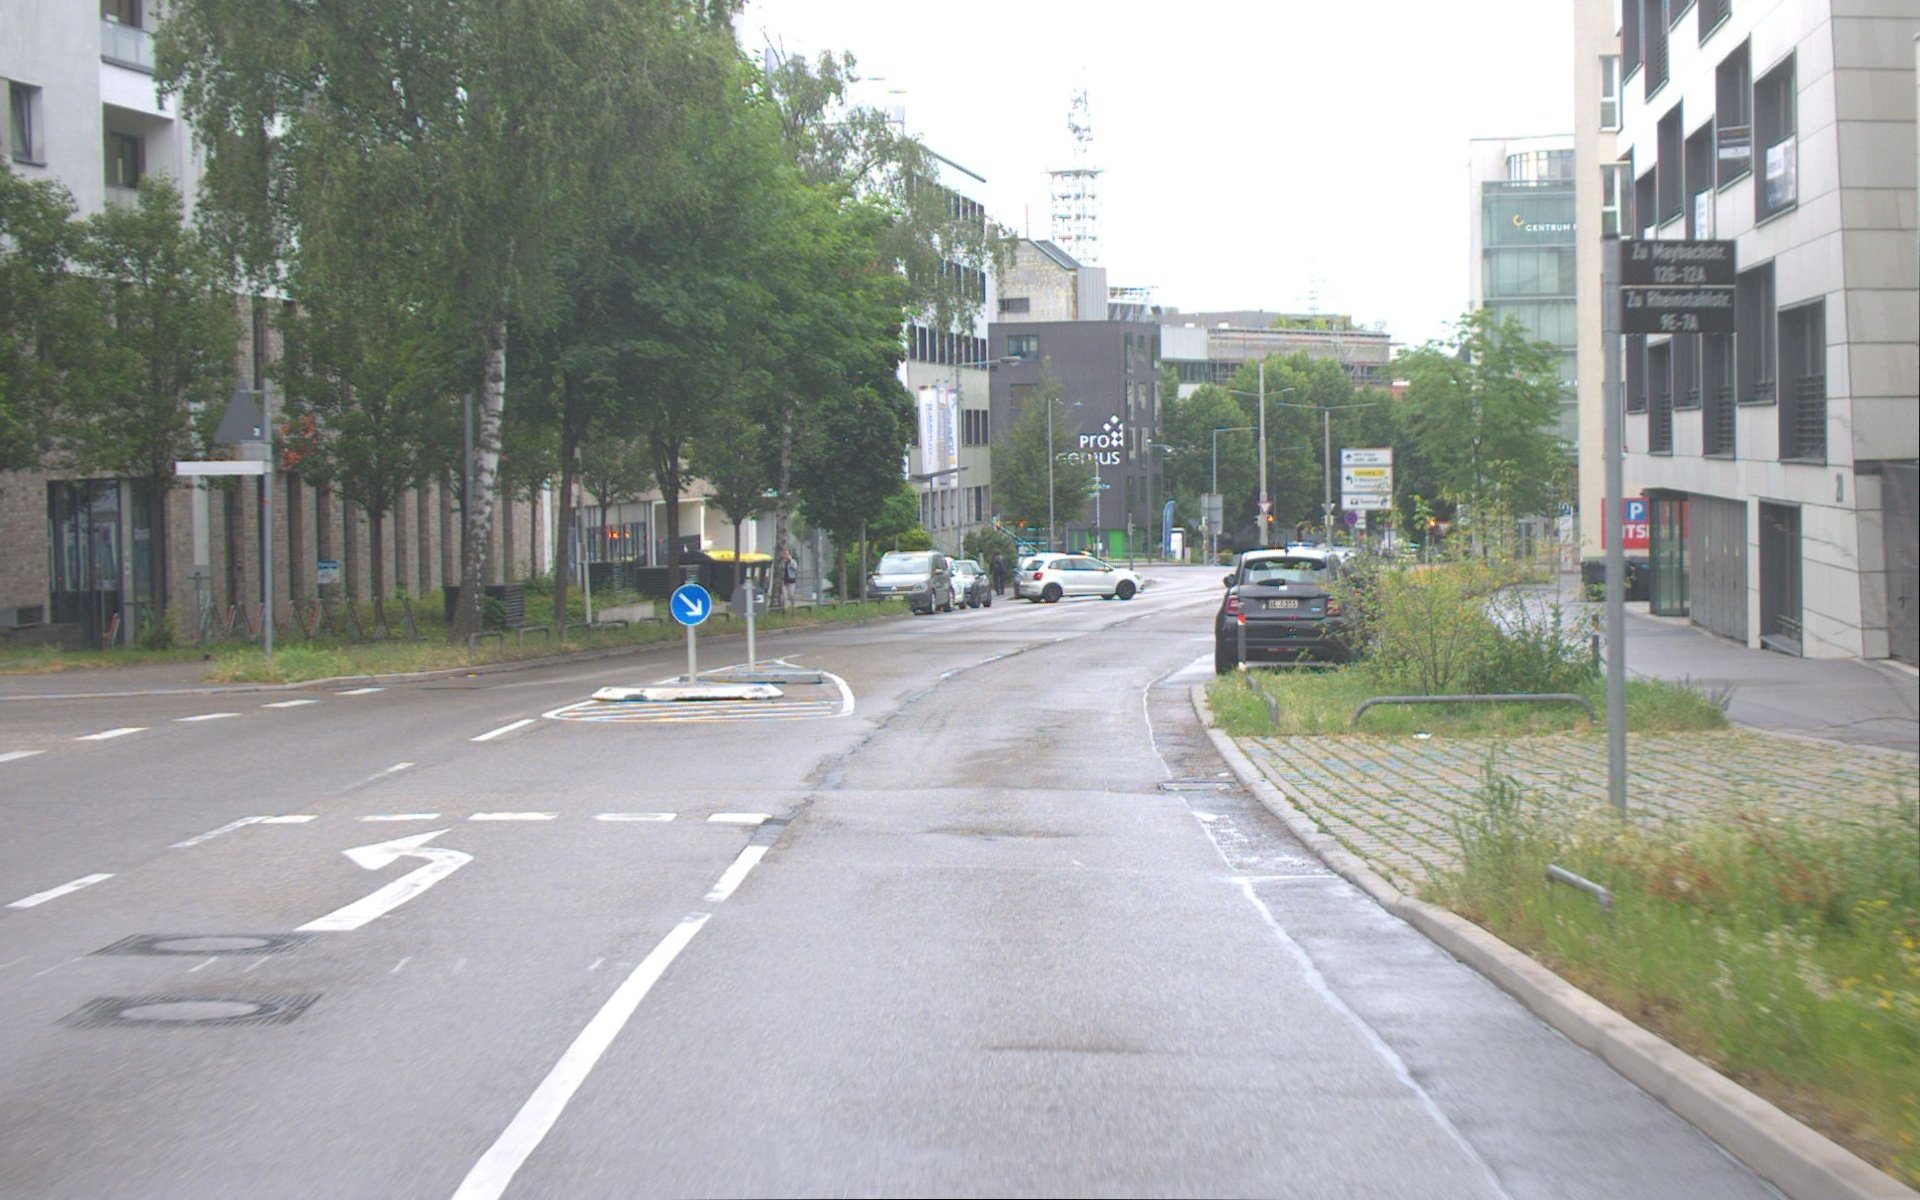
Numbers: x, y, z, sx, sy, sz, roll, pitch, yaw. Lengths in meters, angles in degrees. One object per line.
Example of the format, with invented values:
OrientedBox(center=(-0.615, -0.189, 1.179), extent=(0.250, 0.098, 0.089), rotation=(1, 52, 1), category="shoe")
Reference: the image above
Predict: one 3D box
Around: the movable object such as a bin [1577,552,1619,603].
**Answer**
OrientedBox(center=(18.750, -0.661, 101.037), extent=(1.174, 1.498, 1.013), rotation=(0, 1, 11), category="movable object such as a bin")

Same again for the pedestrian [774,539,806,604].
OrientedBox(center=(-4.441, -0.755, 89.986), extent=(0.708, 1.677, 0.956), rotation=(0, 1, 4), category="pedestrian")

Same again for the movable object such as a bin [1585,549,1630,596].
OrientedBox(center=(18.611, -0.791, 98.817), extent=(1.235, 1.315, 1.191), rotation=(-1, 0, 10), category="movable object such as a bin")

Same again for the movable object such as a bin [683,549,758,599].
OrientedBox(center=(-7.085, -0.762, 101.923), extent=(2.027, 1.425, 1.290), rotation=(1, 1, 5), category="movable object such as a bin")

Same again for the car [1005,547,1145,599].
OrientedBox(center=(3.618, -0.871, 108.233), extent=(3.982, 1.571, 2.001), rotation=(-1, 1, -17), category="car")

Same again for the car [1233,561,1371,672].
OrientedBox(center=(4.862, 0.210, 48.419), extent=(1.808, 1.479, 4.494), rotation=(0, 0, 7), category="car")

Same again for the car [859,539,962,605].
OrientedBox(center=(-1.263, -0.763, 90.284), extent=(2.078, 1.603, 4.684), rotation=(-2, 1, 6), category="car")

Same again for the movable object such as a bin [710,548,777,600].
OrientedBox(center=(-6.580, -0.785, 104.794), extent=(1.795, 1.505, 1.481), rotation=(-2, 0, 5), category="movable object such as a bin")

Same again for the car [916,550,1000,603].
OrientedBox(center=(-0.036, -0.681, 100.189), extent=(1.797, 1.511, 4.244), rotation=(0, 0, 9), category="car")

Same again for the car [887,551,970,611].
OrientedBox(center=(-0.855, -0.549, 95.532), extent=(1.774, 1.595, 4.031), rotation=(0, 1, 7), category="car")

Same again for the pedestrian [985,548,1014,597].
OrientedBox(center=(1.406, -0.977, 122.054), extent=(0.728, 1.703, 0.904), rotation=(-1, 0, -19), category="pedestrian")

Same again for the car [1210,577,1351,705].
OrientedBox(center=(4.059, 0.481, 43.171), extent=(1.546, 1.473, 3.659), rotation=(0, 1, 9), category="car")

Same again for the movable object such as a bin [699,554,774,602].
OrientedBox(center=(-6.711, -0.677, 103.233), extent=(2.054, 1.418, 1.317), rotation=(1, 1, 5), category="movable object such as a bin")
